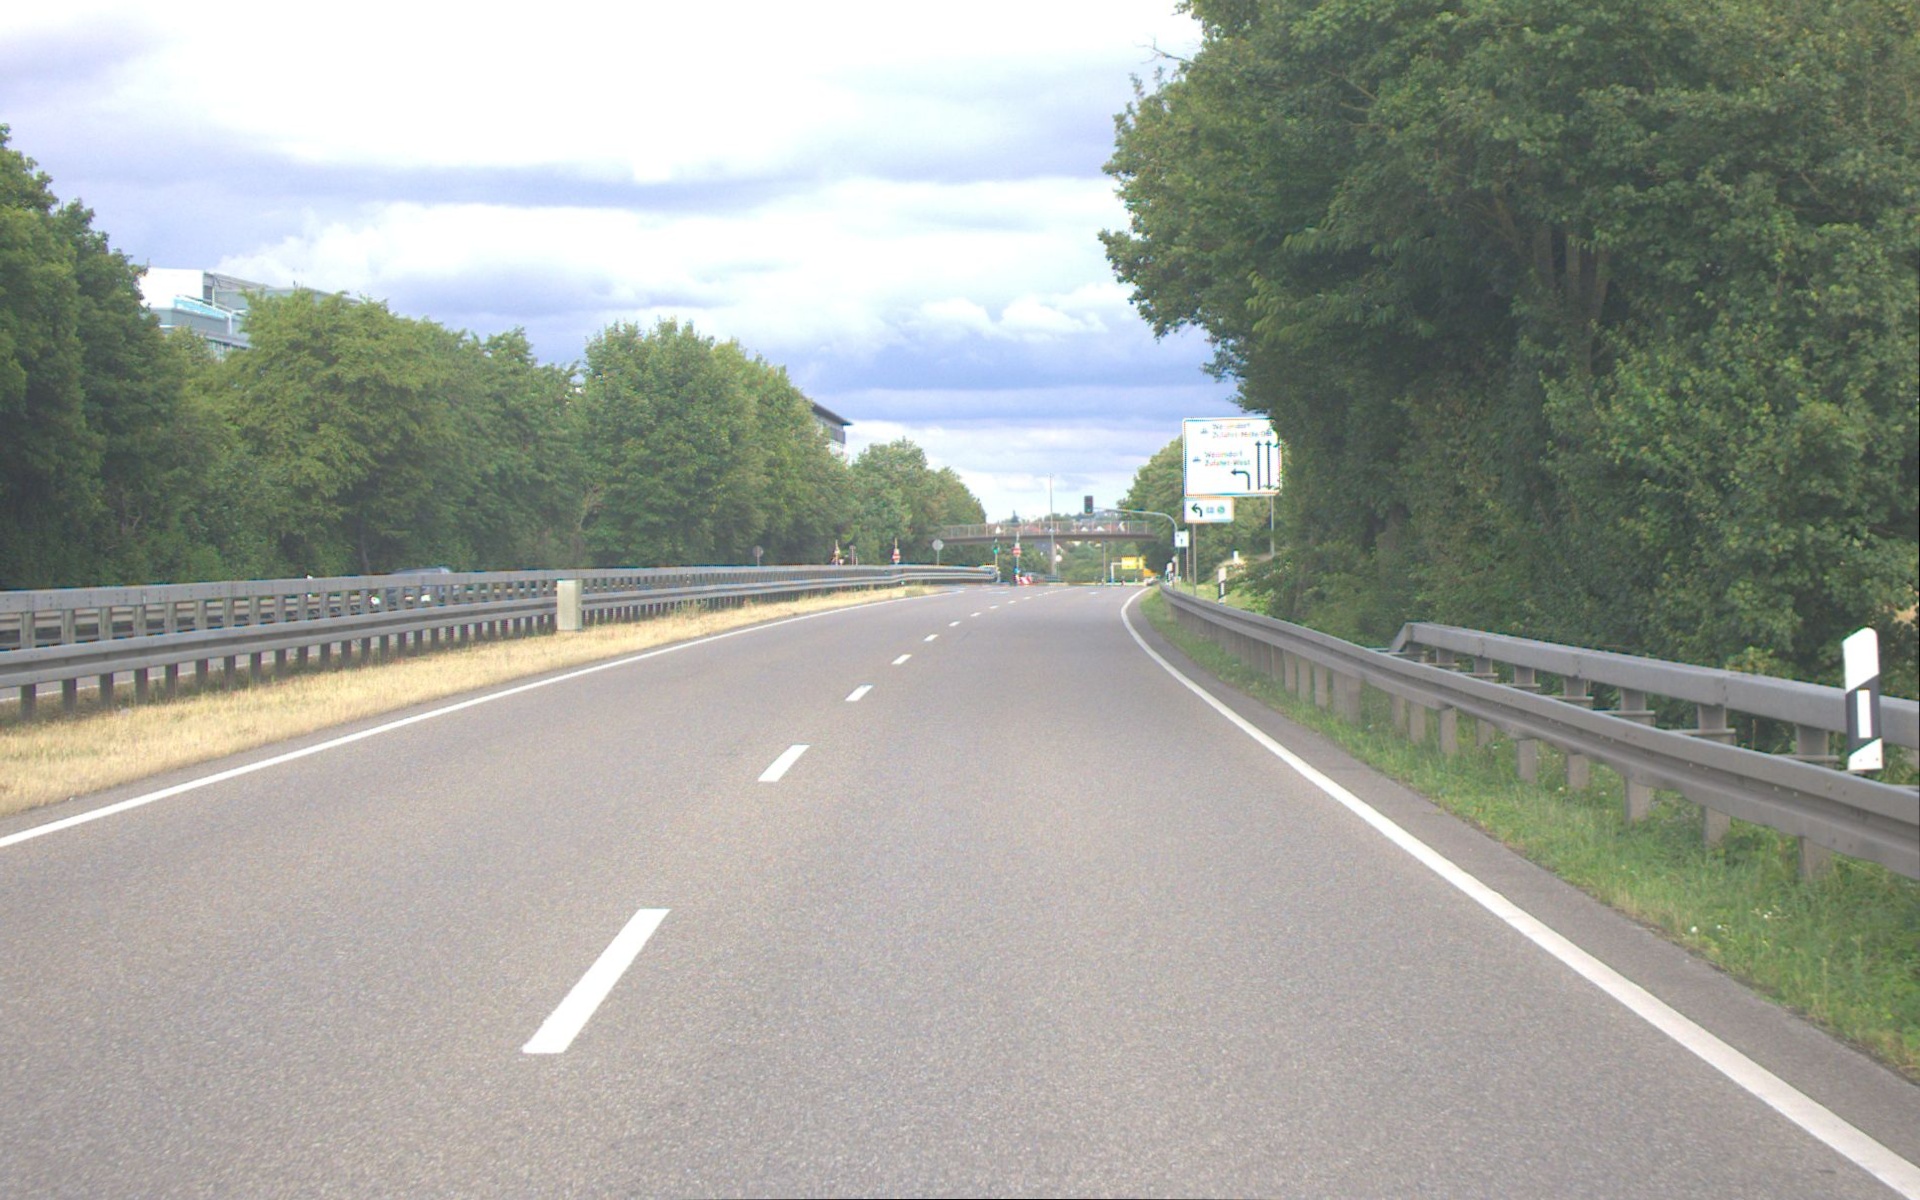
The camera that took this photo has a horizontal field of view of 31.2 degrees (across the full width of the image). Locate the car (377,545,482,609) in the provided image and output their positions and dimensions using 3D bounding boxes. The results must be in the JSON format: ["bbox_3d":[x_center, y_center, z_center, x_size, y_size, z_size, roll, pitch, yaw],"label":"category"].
[{"bbox_3d":[-13.515,-0.596,87.800,1.824,1.539,4.587,-2,1,1],"label":"car"}]
